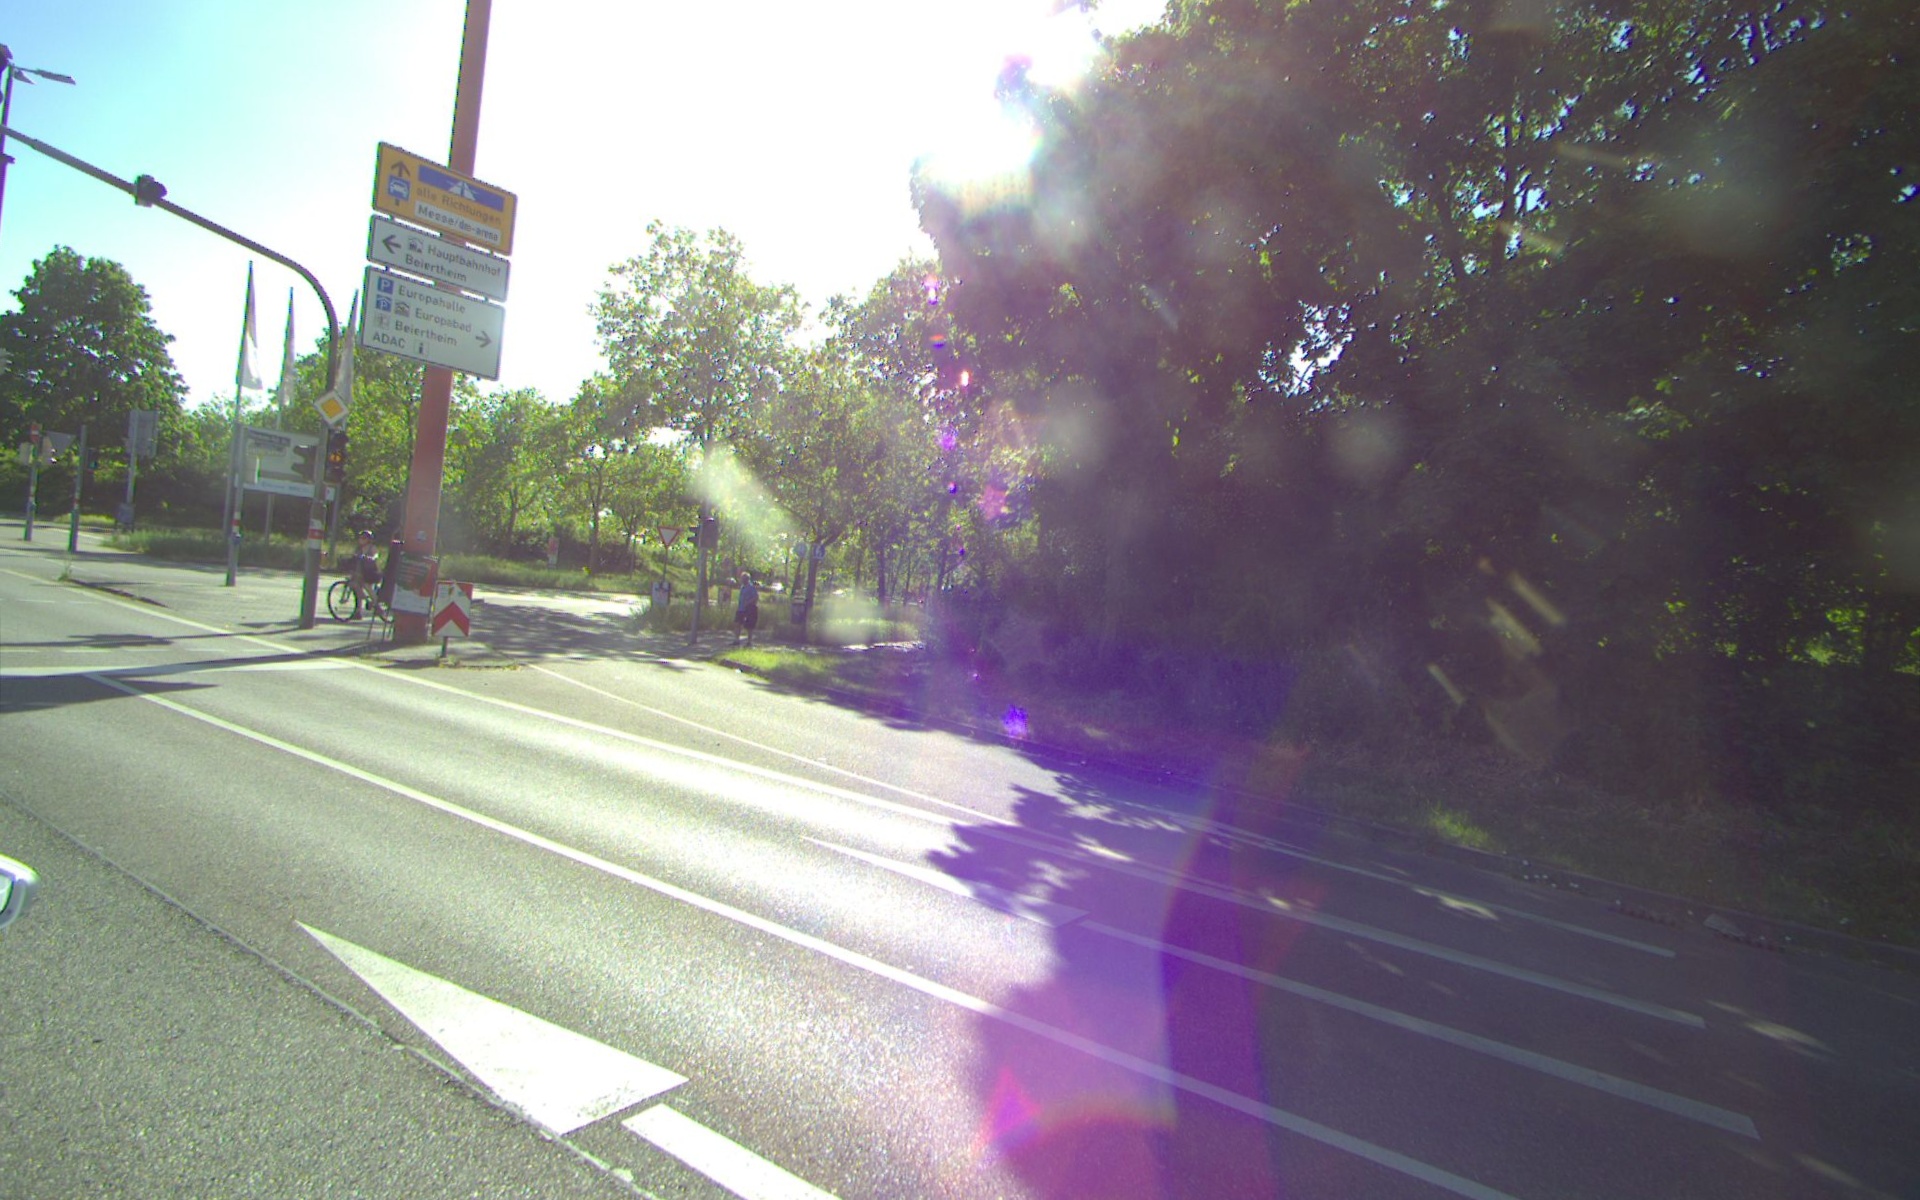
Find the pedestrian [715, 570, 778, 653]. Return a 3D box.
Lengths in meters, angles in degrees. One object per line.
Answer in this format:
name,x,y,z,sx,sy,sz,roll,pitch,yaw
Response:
pedestrian,-5.147,0.280,24.256,0.888,1.810,0.890,8,0,42

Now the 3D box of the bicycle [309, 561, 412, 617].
bicycle,-10.756,-0.185,18.130,0.549,0.889,2.168,7,0,-2

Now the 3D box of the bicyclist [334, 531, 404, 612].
bicyclist,-10.693,-0.497,18.219,0.695,1.358,0.742,7,0,-1
